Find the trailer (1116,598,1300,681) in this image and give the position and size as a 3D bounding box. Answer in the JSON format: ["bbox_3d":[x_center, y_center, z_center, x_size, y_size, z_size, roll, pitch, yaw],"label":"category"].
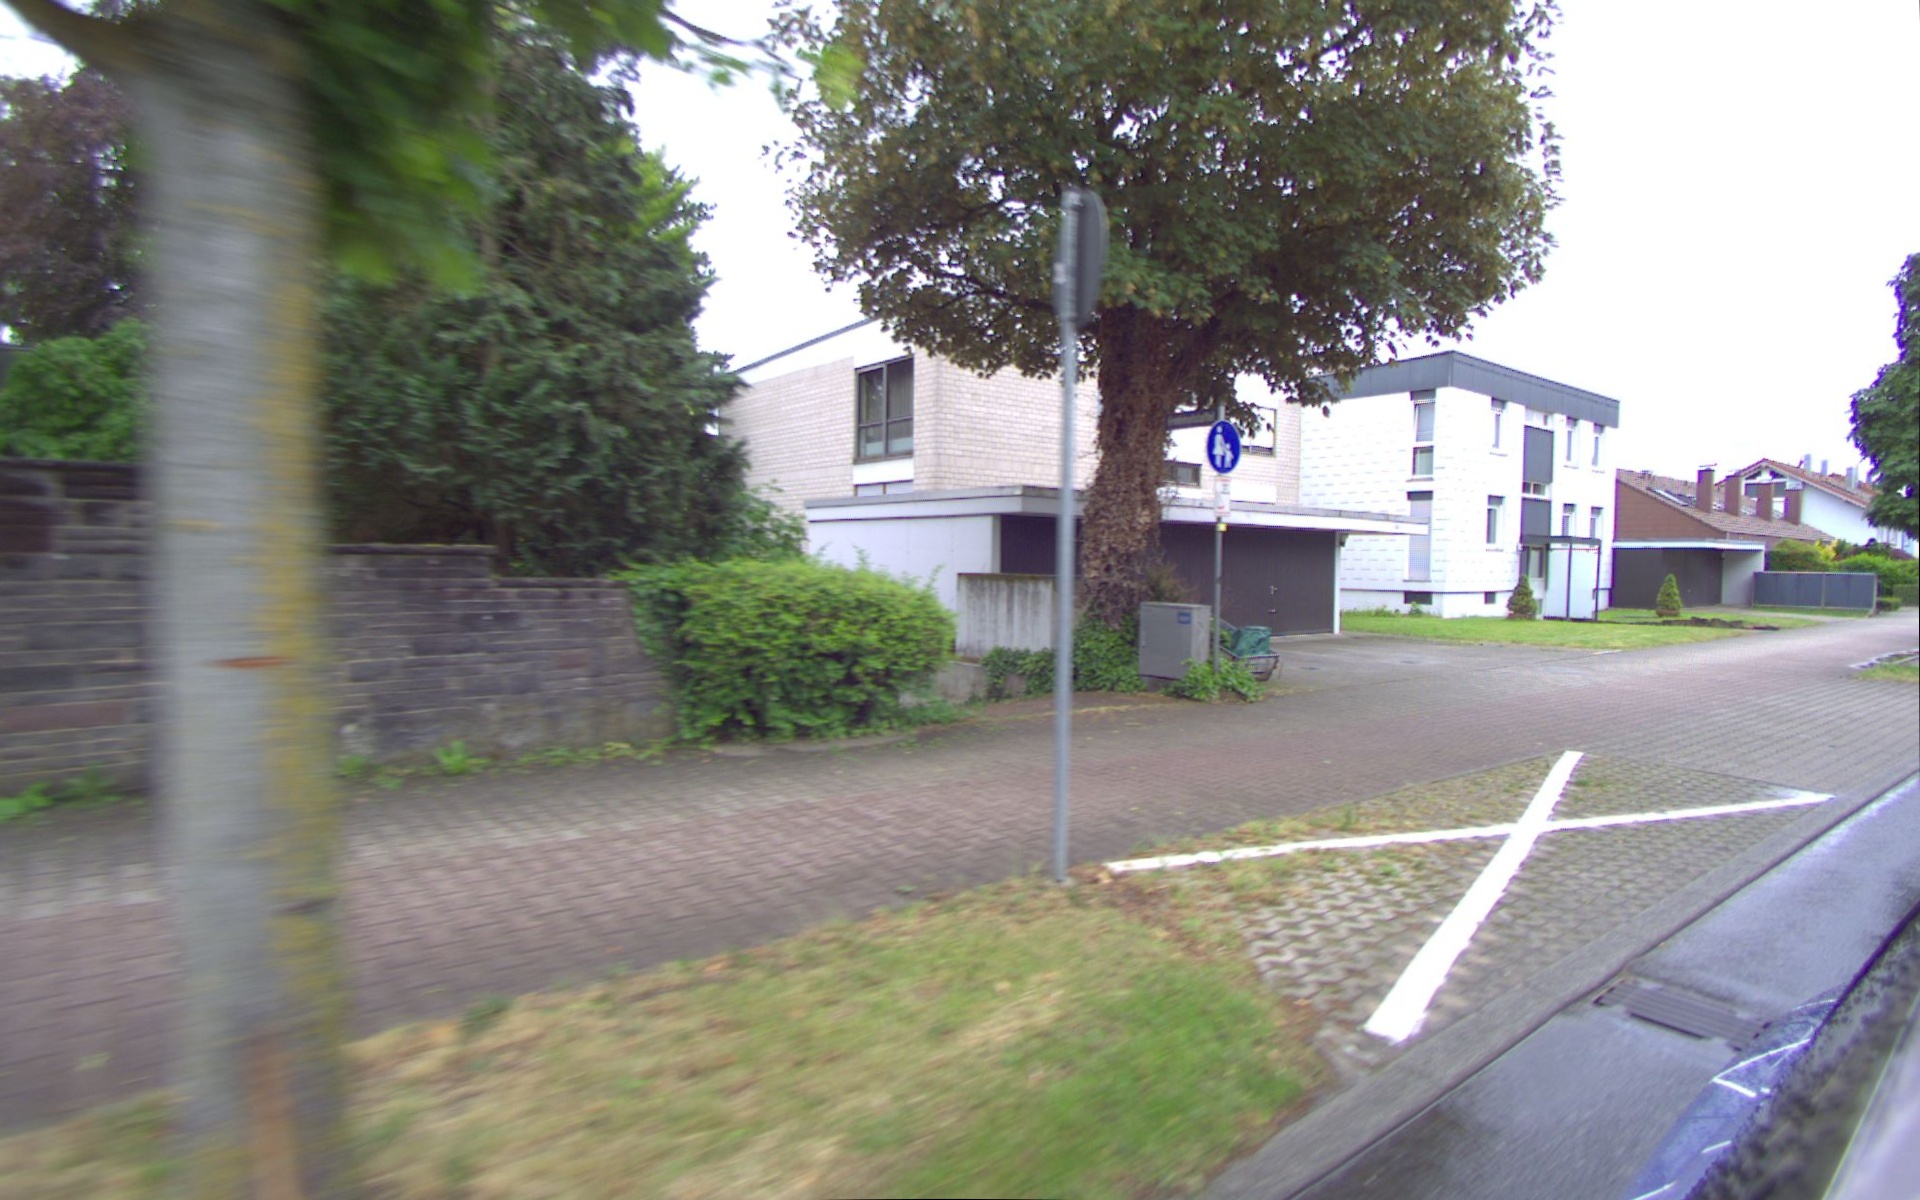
[{"bbox_3d":[3.387,0.501,14.017,1.246,0.970,2.182,0,2,-37],"label":"trailer"}]
